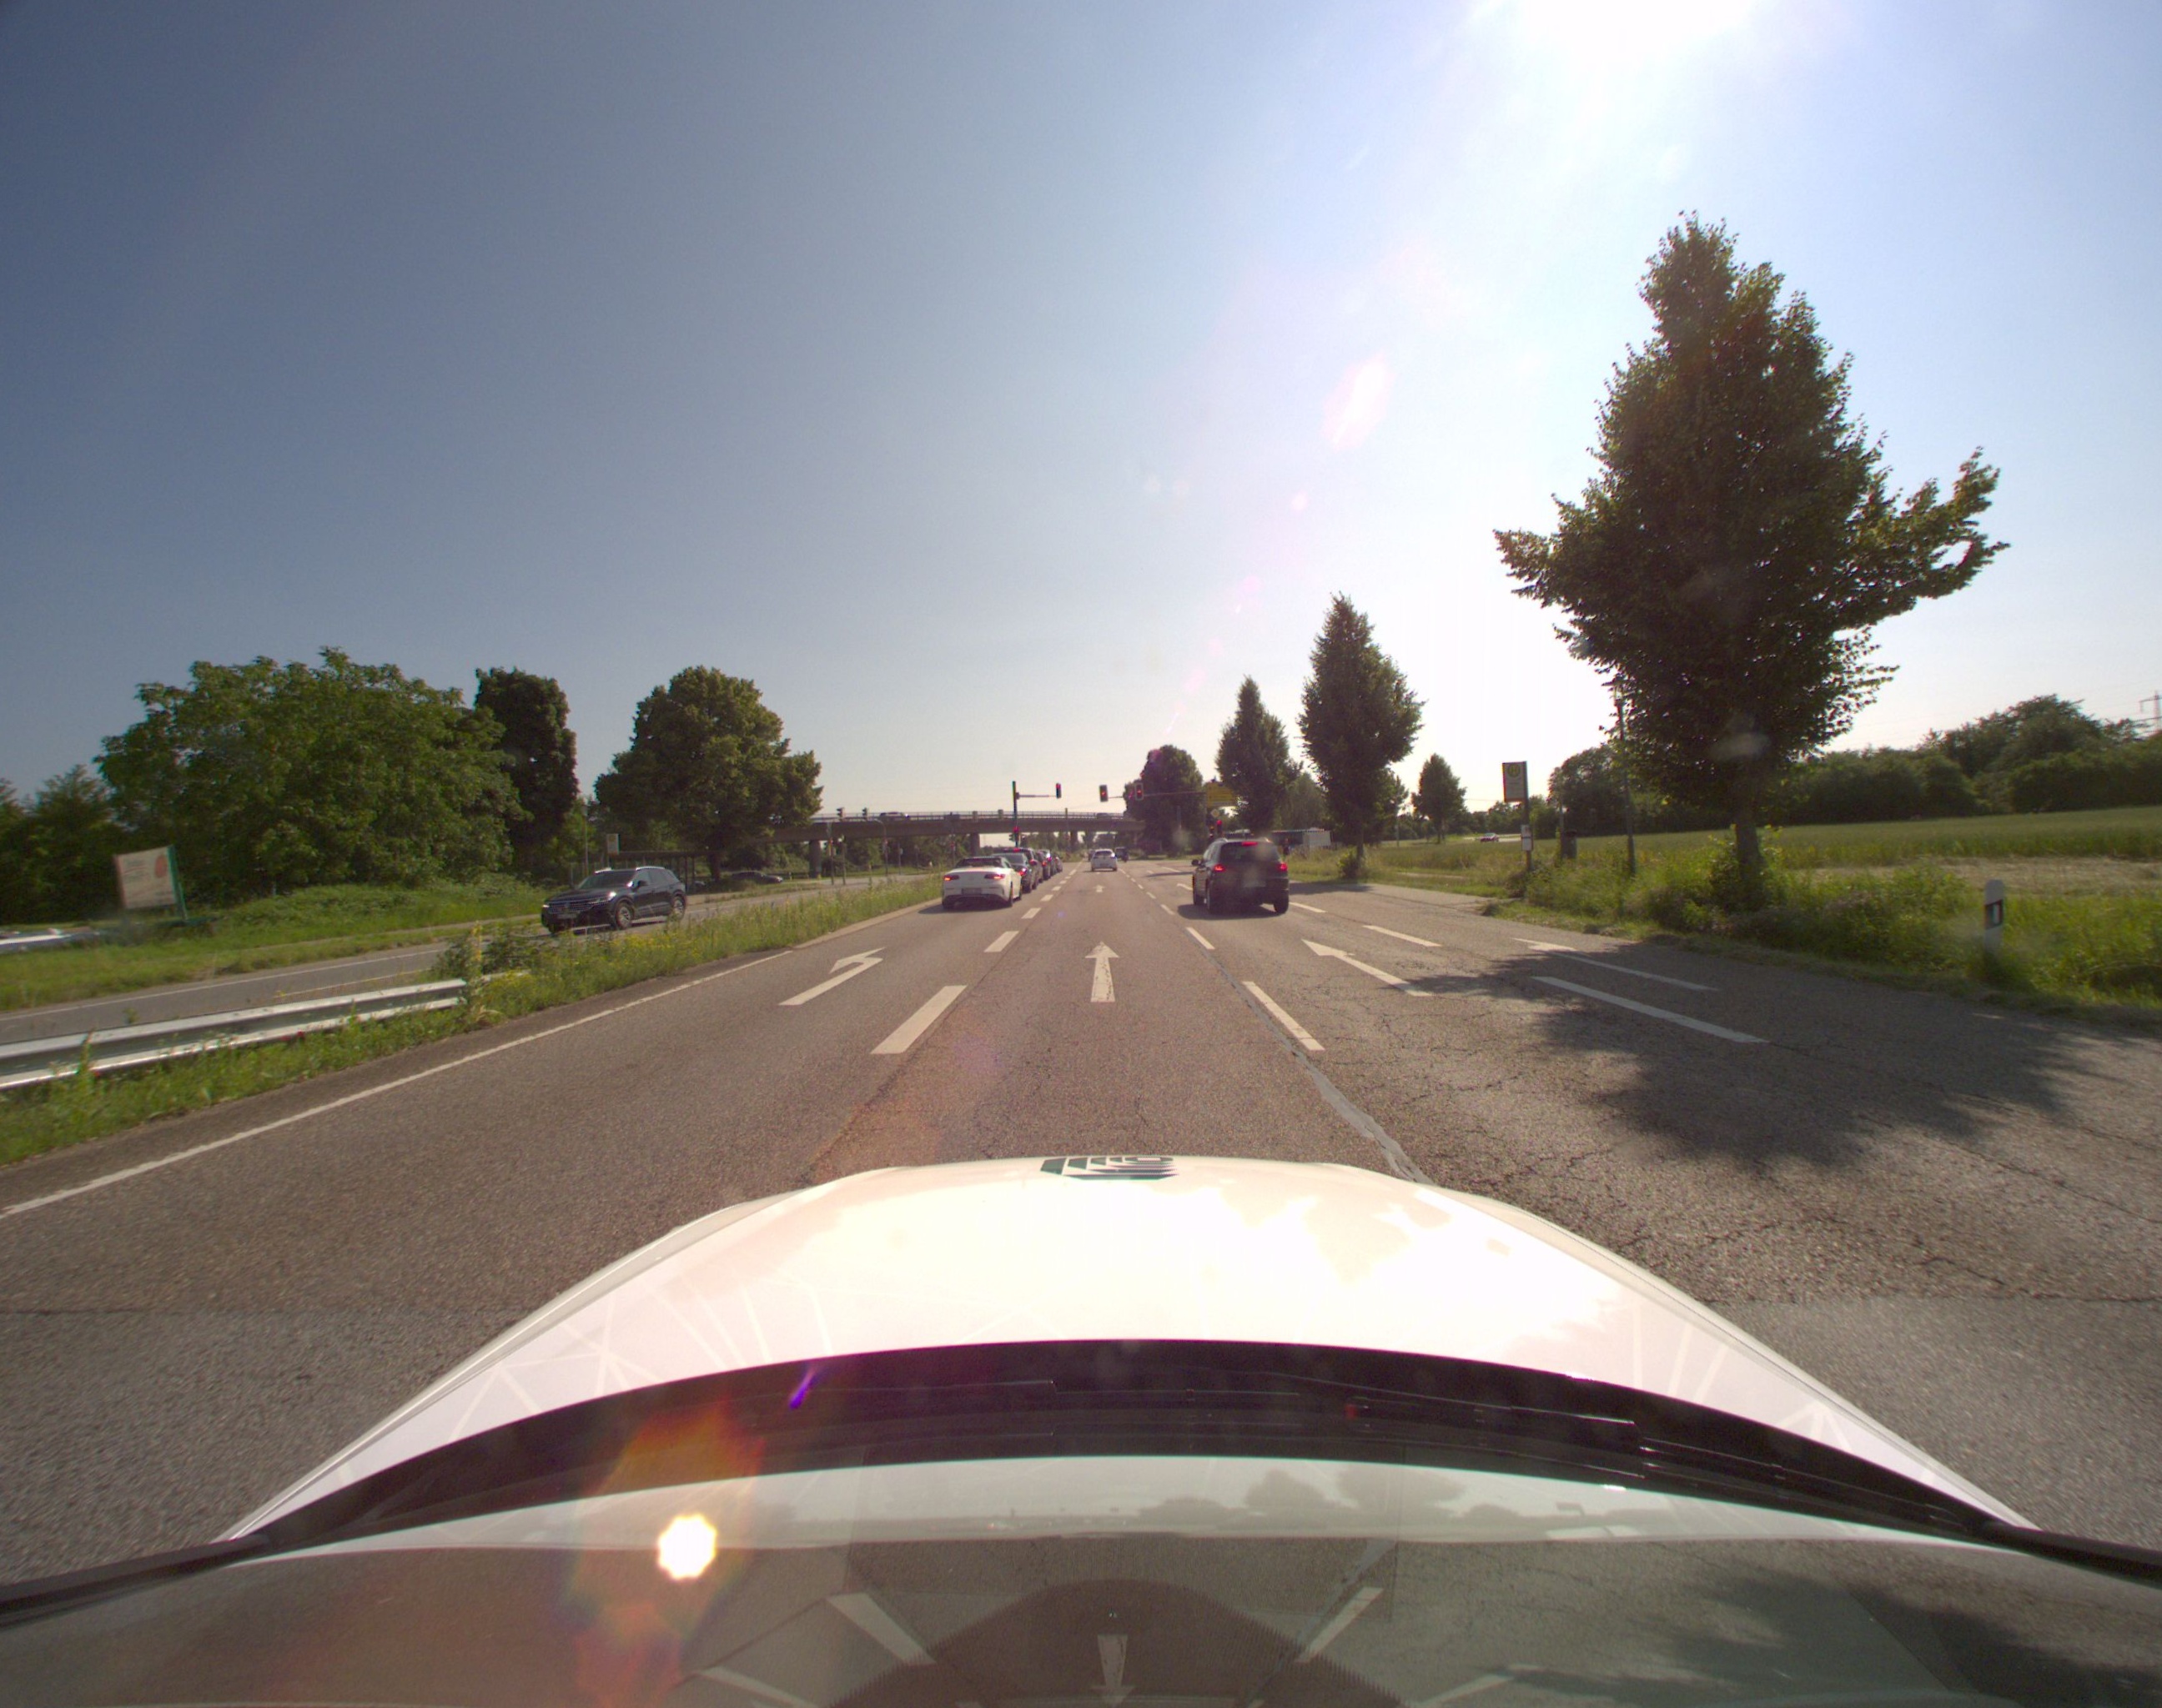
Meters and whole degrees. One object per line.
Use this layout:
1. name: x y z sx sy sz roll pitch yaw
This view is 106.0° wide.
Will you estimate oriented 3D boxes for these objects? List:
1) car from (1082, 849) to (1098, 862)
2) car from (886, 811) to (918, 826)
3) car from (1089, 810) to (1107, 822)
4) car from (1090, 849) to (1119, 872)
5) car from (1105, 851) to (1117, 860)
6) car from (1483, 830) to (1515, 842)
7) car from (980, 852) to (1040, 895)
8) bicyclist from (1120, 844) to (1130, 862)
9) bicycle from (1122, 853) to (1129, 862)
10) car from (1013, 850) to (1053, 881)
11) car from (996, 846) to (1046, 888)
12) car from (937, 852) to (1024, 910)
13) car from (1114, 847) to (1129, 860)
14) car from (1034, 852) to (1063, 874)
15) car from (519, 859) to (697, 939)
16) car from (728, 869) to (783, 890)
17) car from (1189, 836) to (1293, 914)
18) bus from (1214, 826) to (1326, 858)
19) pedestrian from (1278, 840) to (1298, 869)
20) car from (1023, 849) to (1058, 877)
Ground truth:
1. car: 1.179 0.135 103.093 1.866 1.492 4.002 -2 0 2
2. car: -24.308 -4.840 110.688 1.974 1.838 4.025 -1 -1 37
3. car: 3.109 -7.035 152.040 1.975 1.949 3.837 -1 -1 25
4. car: 1.596 0.382 54.659 1.844 1.461 4.002 -1 0 2
5. car: 5.293 0.276 144.167 1.987 1.631 4.000 0 -1 1
6. car: 56.646 -2.463 110.358 4.002 1.398 1.669 -3 0 -21
7. car: -2.548 0.654 30.111 1.708 1.410 4.356 -1 0 1
8. bicyclist: 4.650 -0.092 86.144 1.003 1.886 1.327 -2 0 2
9. bicycle: 4.689 0.359 85.809 0.598 0.983 2.361 -2 0 1
10. car: -2.431 0.563 41.937 1.660 1.474 4.099 -2 0 1
11. car: -2.603 0.516 36.212 1.735 1.672 4.358 -3 0 1
12. car: -2.725 0.690 23.126 1.797 1.425 4.642 -2 0 1
13. car: 5.328 -0.083 106.939 1.866 1.640 4.002 -1 0 2
14. car: -2.183 0.585 55.158 1.668 1.335 4.099 -2 0 1
15. car: -13.276 1.161 23.333 1.986 1.840 4.955 -4 0 1
16. car: -27.251 2.133 68.239 4.127 1.424 1.859 -3 0 -19
17. car: 3.707 0.440 19.549 1.749 1.655 4.147 -1 0 1
18. bus: 20.873 -1.315 89.781 11.957 2.877 2.928 -3 0 -15
19. pedestrian: 13.535 0.029 53.343 0.899 1.839 1.194 -3 0 -1
20. car: -2.389 0.508 48.426 1.722 1.547 4.099 -2 0 1
